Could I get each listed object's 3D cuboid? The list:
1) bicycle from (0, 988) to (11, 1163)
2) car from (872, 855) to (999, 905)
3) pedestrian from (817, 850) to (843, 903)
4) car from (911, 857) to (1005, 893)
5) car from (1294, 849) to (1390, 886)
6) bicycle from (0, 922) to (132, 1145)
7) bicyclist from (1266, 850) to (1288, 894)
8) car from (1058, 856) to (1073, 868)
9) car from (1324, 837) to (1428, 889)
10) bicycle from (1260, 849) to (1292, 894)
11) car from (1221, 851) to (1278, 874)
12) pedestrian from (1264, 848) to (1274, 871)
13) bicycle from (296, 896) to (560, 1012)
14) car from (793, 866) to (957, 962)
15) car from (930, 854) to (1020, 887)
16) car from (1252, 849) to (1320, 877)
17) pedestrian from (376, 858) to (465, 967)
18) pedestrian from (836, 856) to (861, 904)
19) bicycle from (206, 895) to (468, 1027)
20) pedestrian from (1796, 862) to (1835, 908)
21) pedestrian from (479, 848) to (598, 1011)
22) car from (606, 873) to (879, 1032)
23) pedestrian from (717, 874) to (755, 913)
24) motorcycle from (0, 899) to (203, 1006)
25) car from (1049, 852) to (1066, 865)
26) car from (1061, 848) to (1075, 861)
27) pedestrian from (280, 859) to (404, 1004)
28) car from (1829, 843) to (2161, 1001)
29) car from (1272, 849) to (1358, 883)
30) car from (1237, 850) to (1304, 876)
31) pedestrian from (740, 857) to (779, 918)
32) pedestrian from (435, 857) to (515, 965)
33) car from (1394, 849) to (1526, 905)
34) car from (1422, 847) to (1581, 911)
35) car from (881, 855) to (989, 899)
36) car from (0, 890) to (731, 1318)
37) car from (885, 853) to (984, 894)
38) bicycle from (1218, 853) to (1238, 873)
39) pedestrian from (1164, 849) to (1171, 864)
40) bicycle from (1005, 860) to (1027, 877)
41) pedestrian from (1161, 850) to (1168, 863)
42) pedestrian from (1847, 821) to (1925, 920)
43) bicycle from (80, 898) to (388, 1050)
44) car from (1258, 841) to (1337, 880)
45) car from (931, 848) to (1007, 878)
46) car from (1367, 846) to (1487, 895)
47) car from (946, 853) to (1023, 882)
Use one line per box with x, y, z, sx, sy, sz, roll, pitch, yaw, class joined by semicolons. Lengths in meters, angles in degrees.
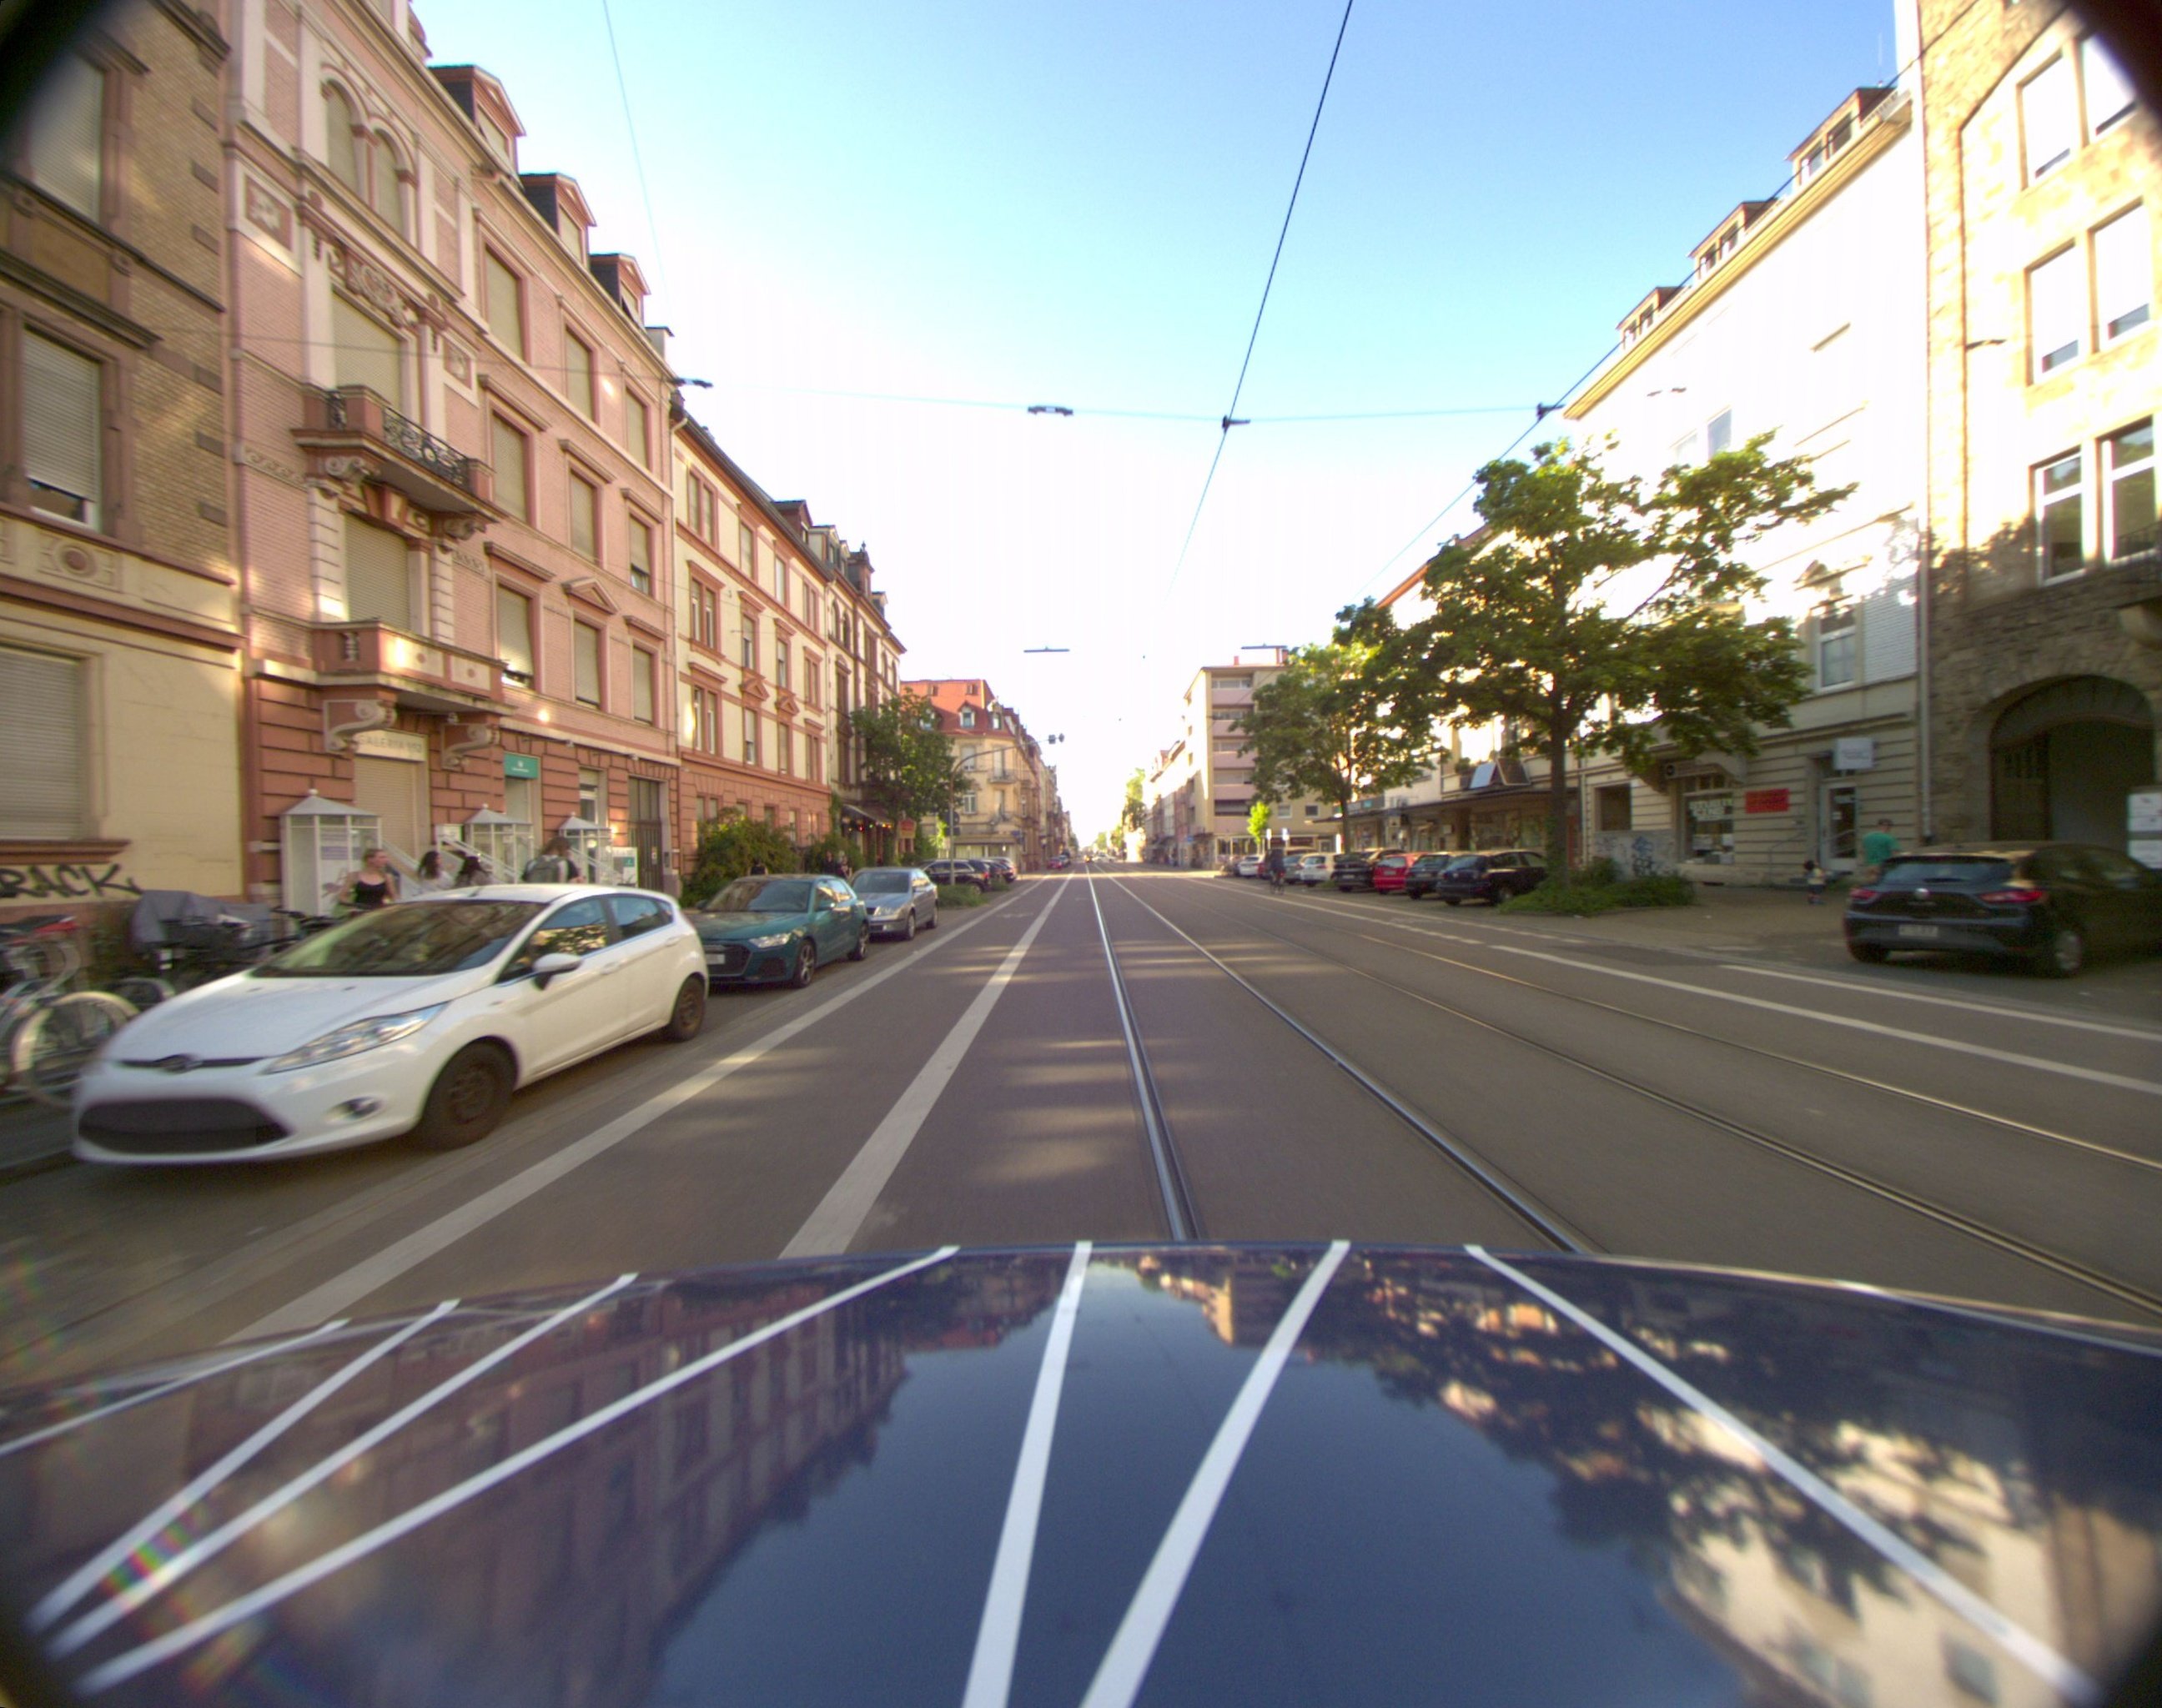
-6.322;1.131;3.596;0.694;1.178;1.238;-2;1;0;bicycle
-5.497;0.930;28.716;4.322;1.587;1.978;-2;1;-24;car
-8.560;0.765;25.964;0.519;1.768;0.863;-2;1;1;pedestrian
-6.288;1.051;38.882;4.337;1.587;2.041;-2;1;-24;car
11.566;0.574;33.713;3.849;1.421;1.762;-2;1;-25;car
-7.308;1.084;4.608;2.363;1.214;0.664;-2;1;4;bicycle
7.571;0.686;29.374;0.636;1.672;0.726;-2;1;1;bicyclist
-2.200;1.122;109.124;1.871;1.637;4.399;2;0;-4;car
11.357;0.310;29.071;4.375;1.772;1.990;-3;1;-44;car
7.574;0.640;29.532;0.682;1.669;2.096;-2;1;1;bicycle
10.880;0.533;49.048;3.476;1.330;1.620;-3;1;-33;car
13.802;0.416;55.823;0.570;1.643;0.641;-2;1;1;pedestrian
-7.803;1.183;9.145;2.545;1.214;0.664;-2;1;0;bicycle
-4.160;1.137;16.255;1.877;1.587;4.720;-2;1;4;car
-5.846;0.886;41.925;4.454;1.587;2.084;-2;1;-24;car
11.576;0.511;42.893;3.476;1.464;1.645;-1;0;-28;car
-10.157;0.878;11.708;0.713;1.598;0.654;-2;1;0;pedestrian
-8.161;0.903;26.667;0.519;1.639;0.863;-2;1;1;pedestrian
-7.748;1.093;7.971;2.024;1.214;0.664;-2;1;0;bicycle
15.167;0.635;15.688;0.355;0.917;0.459;-2;1;0;pedestrian
-5.785;0.775;8.138;0.713;1.662;0.654;-2;1;0;pedestrian
-4.330;1.156;10.534;1.878;1.587;4.000;-2;1;1;car
-9.253;1.049;20.411;0.713;0.975;0.654;2;1;0;pedestrian
-11.569;1.092;8.513;0.508;0.986;2.518;2;1;1;motorcycle
-2.857;0.564;92.373;1.870;1.474;4.400;1;1;0;car
-2.441;0.074;144.219;2.128;2.478;5.856;-2;1;2;car
-8.571;0.871;8.845;0.713;1.598;0.654;-2;1;0;pedestrian
11.441;0.678;9.086;4.002;1.481;1.803;-2;1;-16;car
11.462;0.557;37.150;4.025;1.441;1.695;-2;1;-29;car
11.392;0.535;45.678;3.798;1.392;1.750;-2;1;-32;car
-8.681;0.889;20.519;0.713;1.598;0.654;-2;1;0;pedestrian
-9.365;0.861;11.756;0.713;1.598;0.654;1;1;0;pedestrian
11.829;0.672;23.641;4.006;1.481;1.802;-2;1;-32;car
11.415;0.621;20.597;4.005;1.481;1.802;-2;1;-27;car
-6.091;0.924;31.718;4.004;1.587;2.083;-2;1;-24;car
-4.351;1.187;5.271;1.878;1.587;4.000;-2;1;1;car
-6.575;0.838;34.105;4.004;1.587;1.955;-2;1;-24;car
9.822;0.617;50.839;0.683;1.311;2.435;-2;-2;-3;bicycle
9.691;0.233;85.110;0.564;1.676;0.616;-2;1;-1;pedestrian
-4.451;1.019;52.323;1.400;1.120;0.551;-2;1;0;bicycle
9.829;0.293;89.546;0.637;1.540;0.623;-2;1;0;pedestrian
14.505;0.285;13.710;0.579;1.716;0.762;-2;1;0;pedestrian
-7.728;1.074;6.993;2.024;1.214;0.664;-2;1;0;bicycle
11.422;0.338;40.026;3.828;1.775;1.793;-4;2;-30;car
-6.561;0.511;44.504;4.004;1.528;1.915;-2;1;-24;car
12.049;0.536;26.444;4.006;1.480;1.863;-2;1;-32;car
-6.008;0.823;47.269;4.370;1.587;1.850;-2;1;-24;car
